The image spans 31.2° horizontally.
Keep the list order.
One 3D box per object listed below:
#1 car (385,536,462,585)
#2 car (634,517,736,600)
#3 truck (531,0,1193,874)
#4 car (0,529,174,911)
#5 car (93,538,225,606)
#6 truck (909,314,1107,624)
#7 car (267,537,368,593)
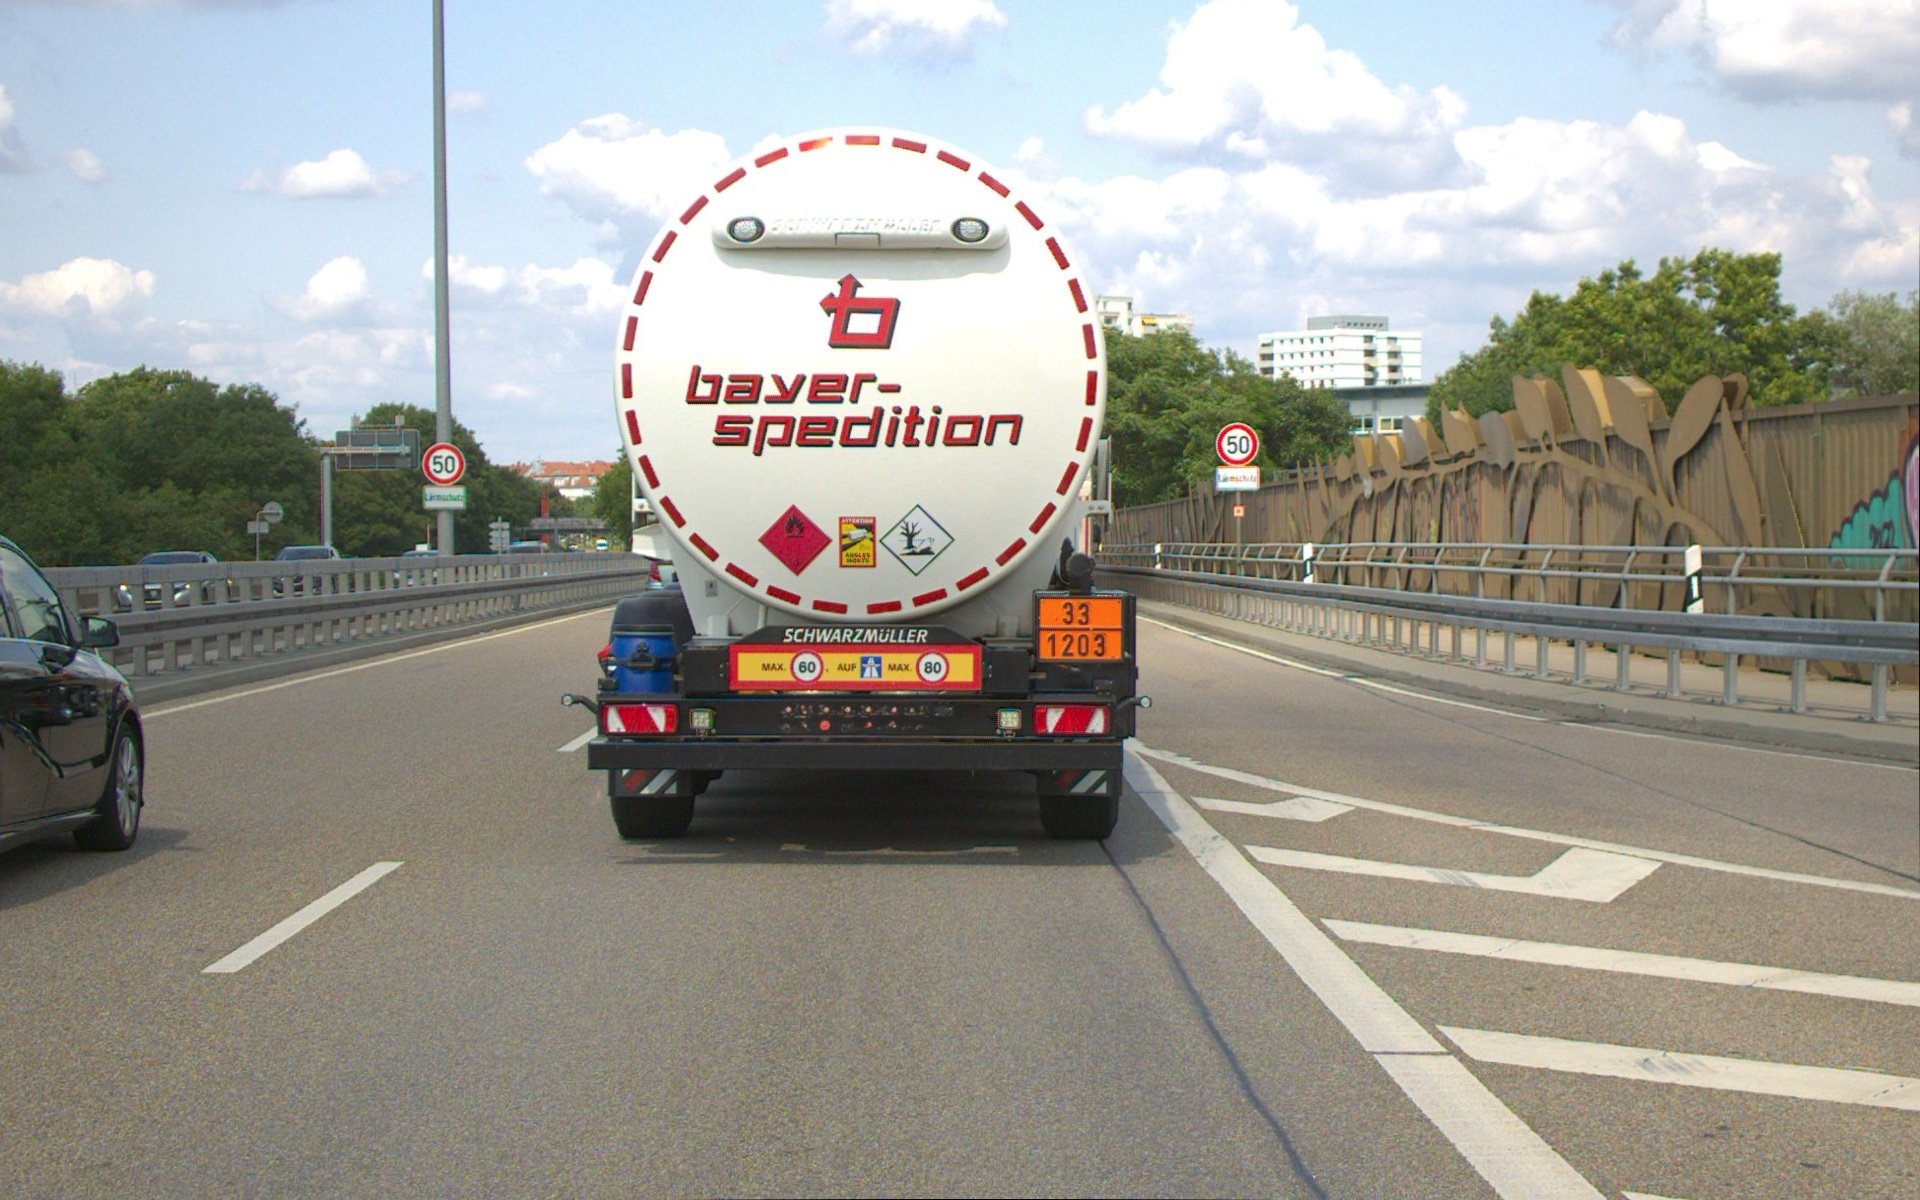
[{"bbox_3d":[-17.838,-1.330,114.464,1.993,1.568,4.000,1,1,-1],"label":"car"},{"bbox_3d":[-5.267,-0.820,66.205,1.747,1.526,4.001,0,2,-1],"label":"car"},{"bbox_3d":[-0.546,-1.061,19.374,2.895,4.353,8.030,1,1,-2],"label":"truck"},{"bbox_3d":[-4.738,0.462,14.774,1.711,1.522,4.593,1,1,-1],"label":"car"},{"bbox_3d":[-17.231,-0.618,74.157,1.777,1.415,4.622,0,1,0],"label":"car"},{"bbox_3d":[0.689,-2.130,57.647,2.895,4.791,8.030,1,1,-2],"label":"truck"},{"bbox_3d":[-17.409,-0.977,93.310,1.912,1.459,4.519,0,1,0],"label":"car"}]
